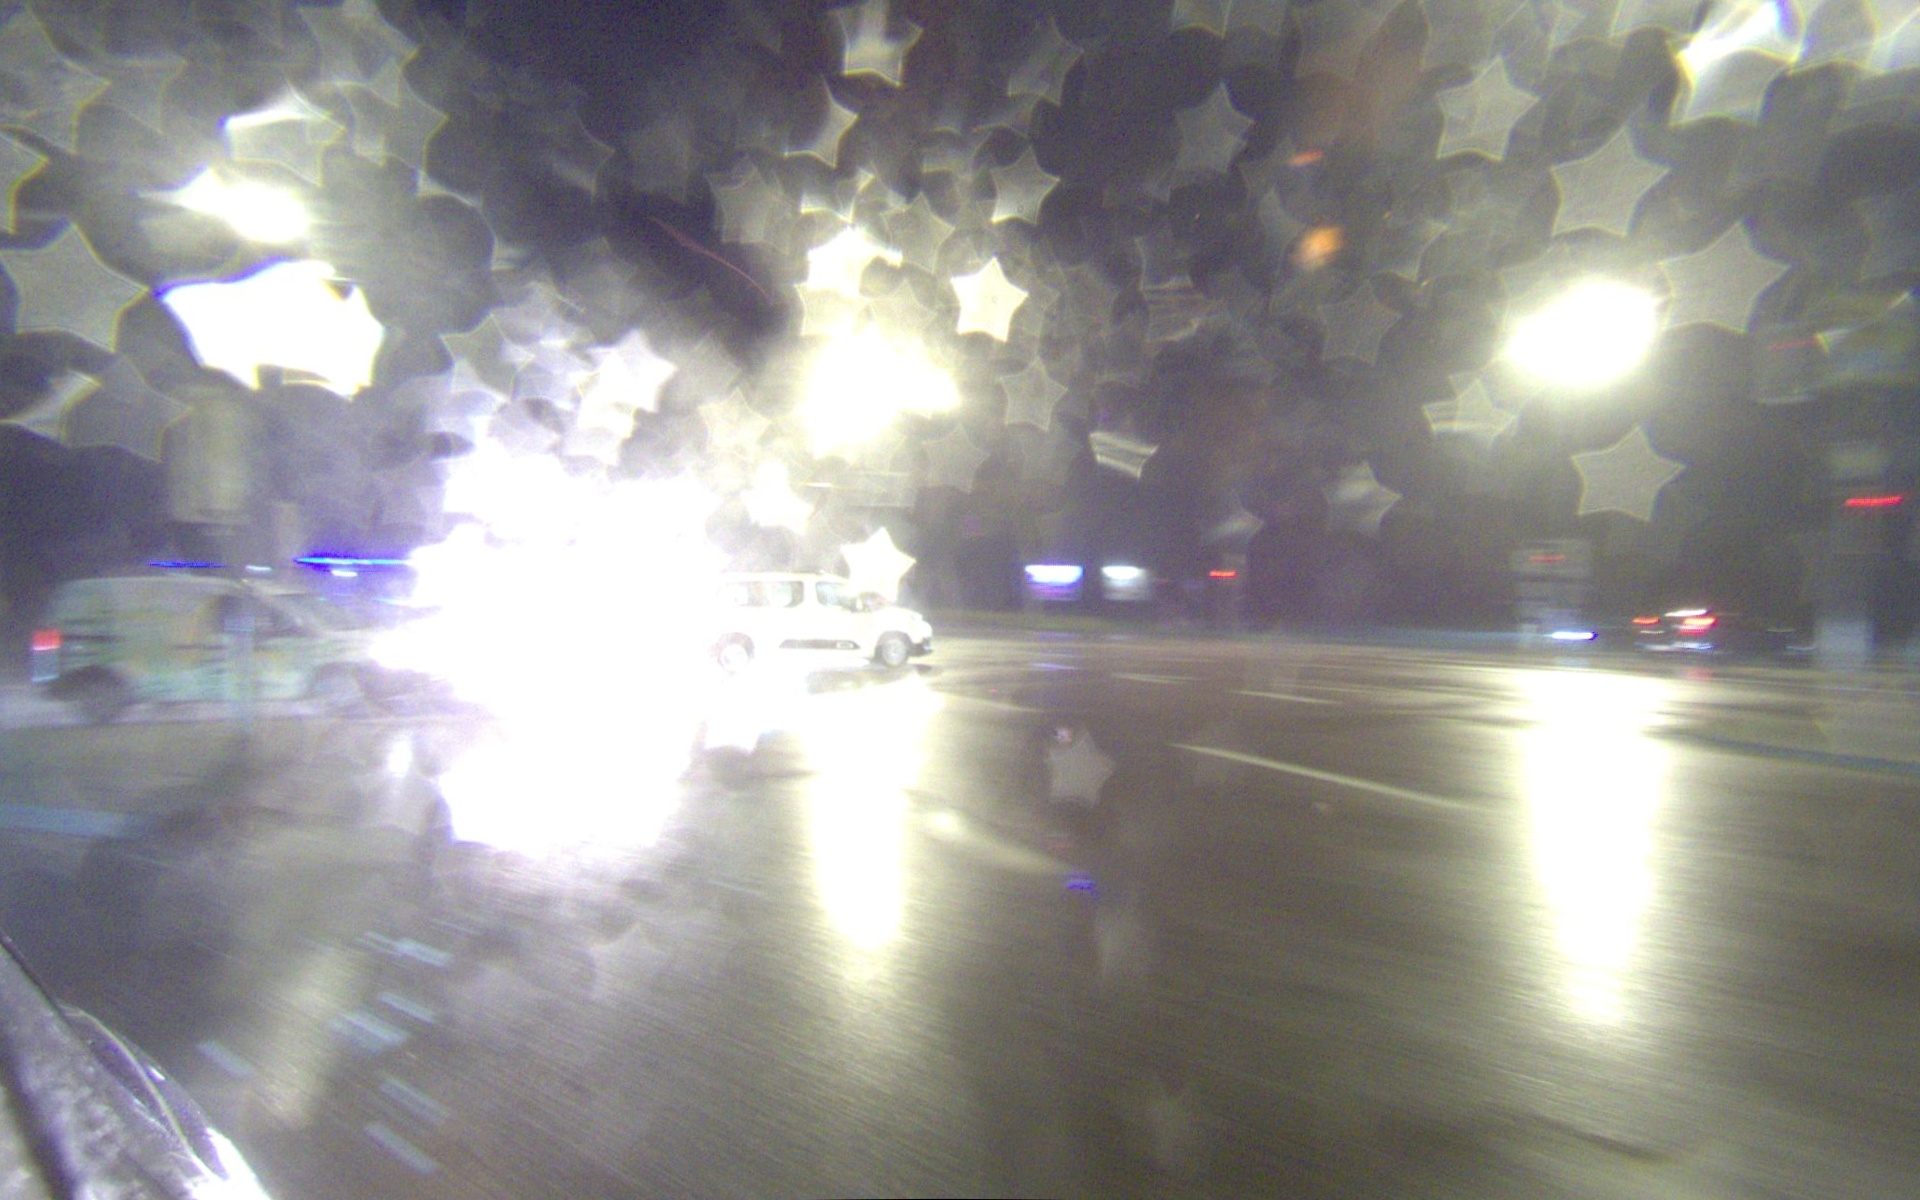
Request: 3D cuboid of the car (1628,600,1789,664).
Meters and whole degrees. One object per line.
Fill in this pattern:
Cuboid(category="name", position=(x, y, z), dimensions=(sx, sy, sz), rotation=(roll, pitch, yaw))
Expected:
Cuboid(category="car", position=(19.067, 0.749, 25.761), dimensions=(4.051, 1.418, 1.842), rotation=(-1, 1, -30))

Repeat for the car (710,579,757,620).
Cuboid(category="car", position=(-12.053, -0.077, 53.672), dimensions=(1.763, 2.039, 4.161), rotation=(-1, 2, -21))

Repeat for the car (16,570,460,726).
Cuboid(category="car", position=(-9.390, 0.539, 13.589), dimensions=(4.482, 1.844, 1.788), rotation=(-1, 2, -13))

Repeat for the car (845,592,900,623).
Cuboid(category="car", position=(-4.993, 0.393, 57.280), dimensions=(1.804, 1.485, 4.051), rotation=(-2, 3, -24))

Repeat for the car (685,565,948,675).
Cuboid(category="car", position=(-2.756, 0.310, 19.138), dimensions=(4.641, 1.806, 2.006), rotation=(-2, 2, -16))

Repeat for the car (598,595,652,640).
Cuboid(category="car", position=(-14.282, 0.685, 43.042), dimensions=(1.925, 1.645, 4.274), rotation=(-1, 2, -21))
